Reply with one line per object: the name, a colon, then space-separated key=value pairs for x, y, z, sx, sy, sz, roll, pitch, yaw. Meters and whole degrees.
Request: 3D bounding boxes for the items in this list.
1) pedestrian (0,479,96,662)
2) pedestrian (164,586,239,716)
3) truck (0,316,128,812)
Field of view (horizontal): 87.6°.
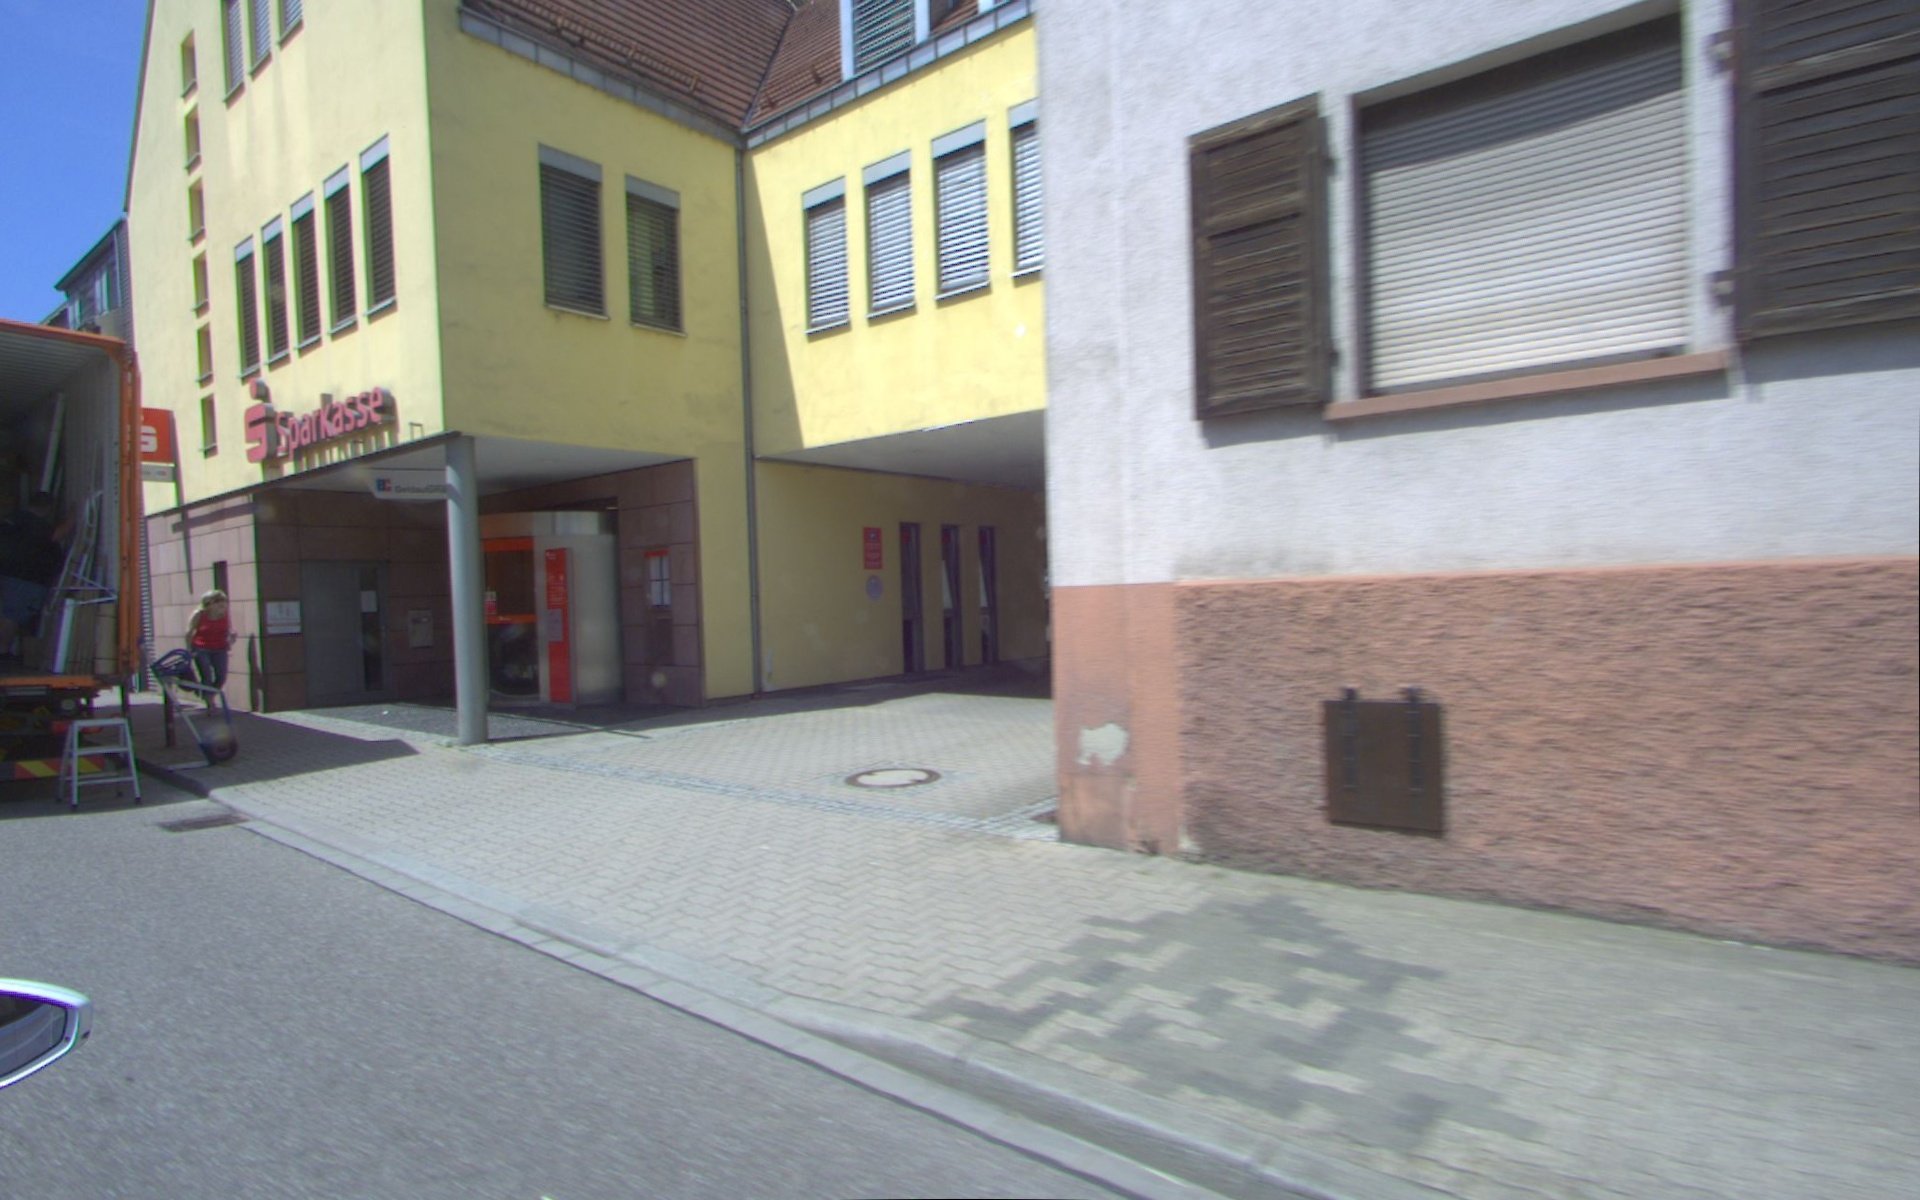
pedestrian: x=-9.458 y=-0.269 z=10.288 sx=0.916 sy=1.779 sz=0.746 roll=-1 pitch=-1 yaw=40
pedestrian: x=-10.143 y=0.677 z=13.398 sx=0.643 sy=1.674 sz=0.685 roll=-1 pitch=-1 yaw=42
truck: x=-11.756 y=-0.332 z=10.983 sx=9.877 sy=3.997 sz=2.596 roll=1 pitch=0 yaw=42
